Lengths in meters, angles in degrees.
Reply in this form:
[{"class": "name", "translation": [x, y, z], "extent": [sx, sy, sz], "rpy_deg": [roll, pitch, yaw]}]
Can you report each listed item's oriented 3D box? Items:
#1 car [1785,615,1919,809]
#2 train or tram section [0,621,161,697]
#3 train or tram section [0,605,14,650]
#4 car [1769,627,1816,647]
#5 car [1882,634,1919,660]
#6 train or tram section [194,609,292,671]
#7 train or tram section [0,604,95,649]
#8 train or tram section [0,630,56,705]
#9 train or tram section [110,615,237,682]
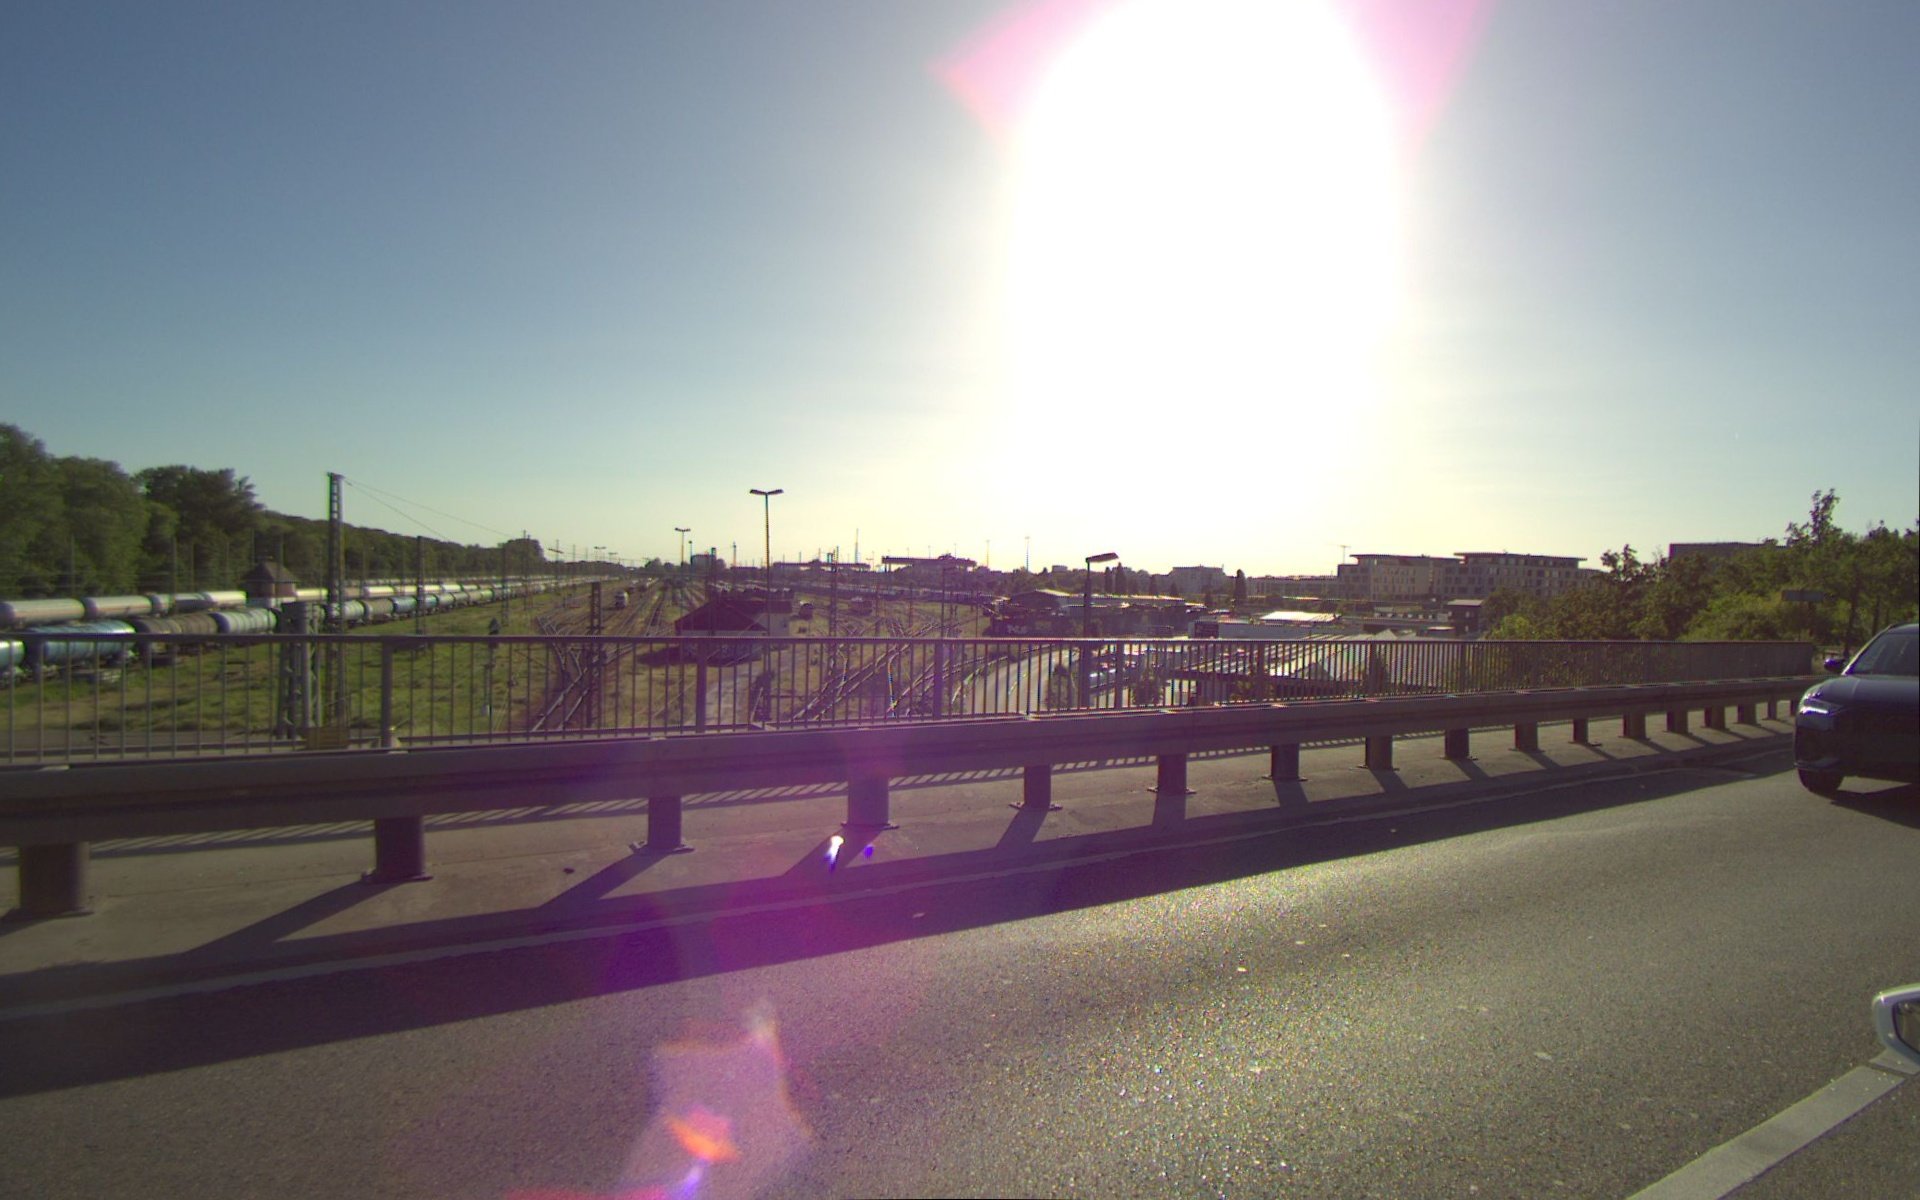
[{"class": "car", "translation": [9.550, 0.969, 9.435], "extent": [4.144, 1.572, 1.811], "rpy_deg": [2, -1, -36]}, {"class": "train or tram section", "translation": [-73.848, 4.679, 84.779], "extent": [3.842, 5.592, 16.450], "rpy_deg": [1, -1, -16]}, {"class": "train or tram section", "translation": [-110.576, 3.025, 108.870], "extent": [3.984, 5.154, 18.122], "rpy_deg": [1, -1, -17]}, {"class": "car", "translation": [70.240, 3.117, 84.819], "extent": [1.805, 1.576, 3.893], "rpy_deg": [1, -1, 20]}, {"class": "car", "translation": [61.692, 3.069, 65.520], "extent": [1.835, 1.606, 3.900], "rpy_deg": [0, -1, 36]}, {"class": "train or tram section", "translation": [-82.986, 4.458, 116.828], "extent": [3.842, 6.699, 16.450], "rpy_deg": [1, -1, -16]}, {"class": "train or tram section", "translation": [-115.797, 3.191, 126.074], "extent": [3.984, 5.154, 17.803], "rpy_deg": [1, -1, -17]}, {"class": "train or tram section", "translation": [-69.364, 4.816, 69.010], "extent": [3.842, 5.083, 16.312], "rpy_deg": [1, -1, -16]}, {"class": "train or tram section", "translation": [-78.409, 4.573, 100.814], "extent": [3.842, 6.089, 16.904], "rpy_deg": [1, -1, -16]}]
